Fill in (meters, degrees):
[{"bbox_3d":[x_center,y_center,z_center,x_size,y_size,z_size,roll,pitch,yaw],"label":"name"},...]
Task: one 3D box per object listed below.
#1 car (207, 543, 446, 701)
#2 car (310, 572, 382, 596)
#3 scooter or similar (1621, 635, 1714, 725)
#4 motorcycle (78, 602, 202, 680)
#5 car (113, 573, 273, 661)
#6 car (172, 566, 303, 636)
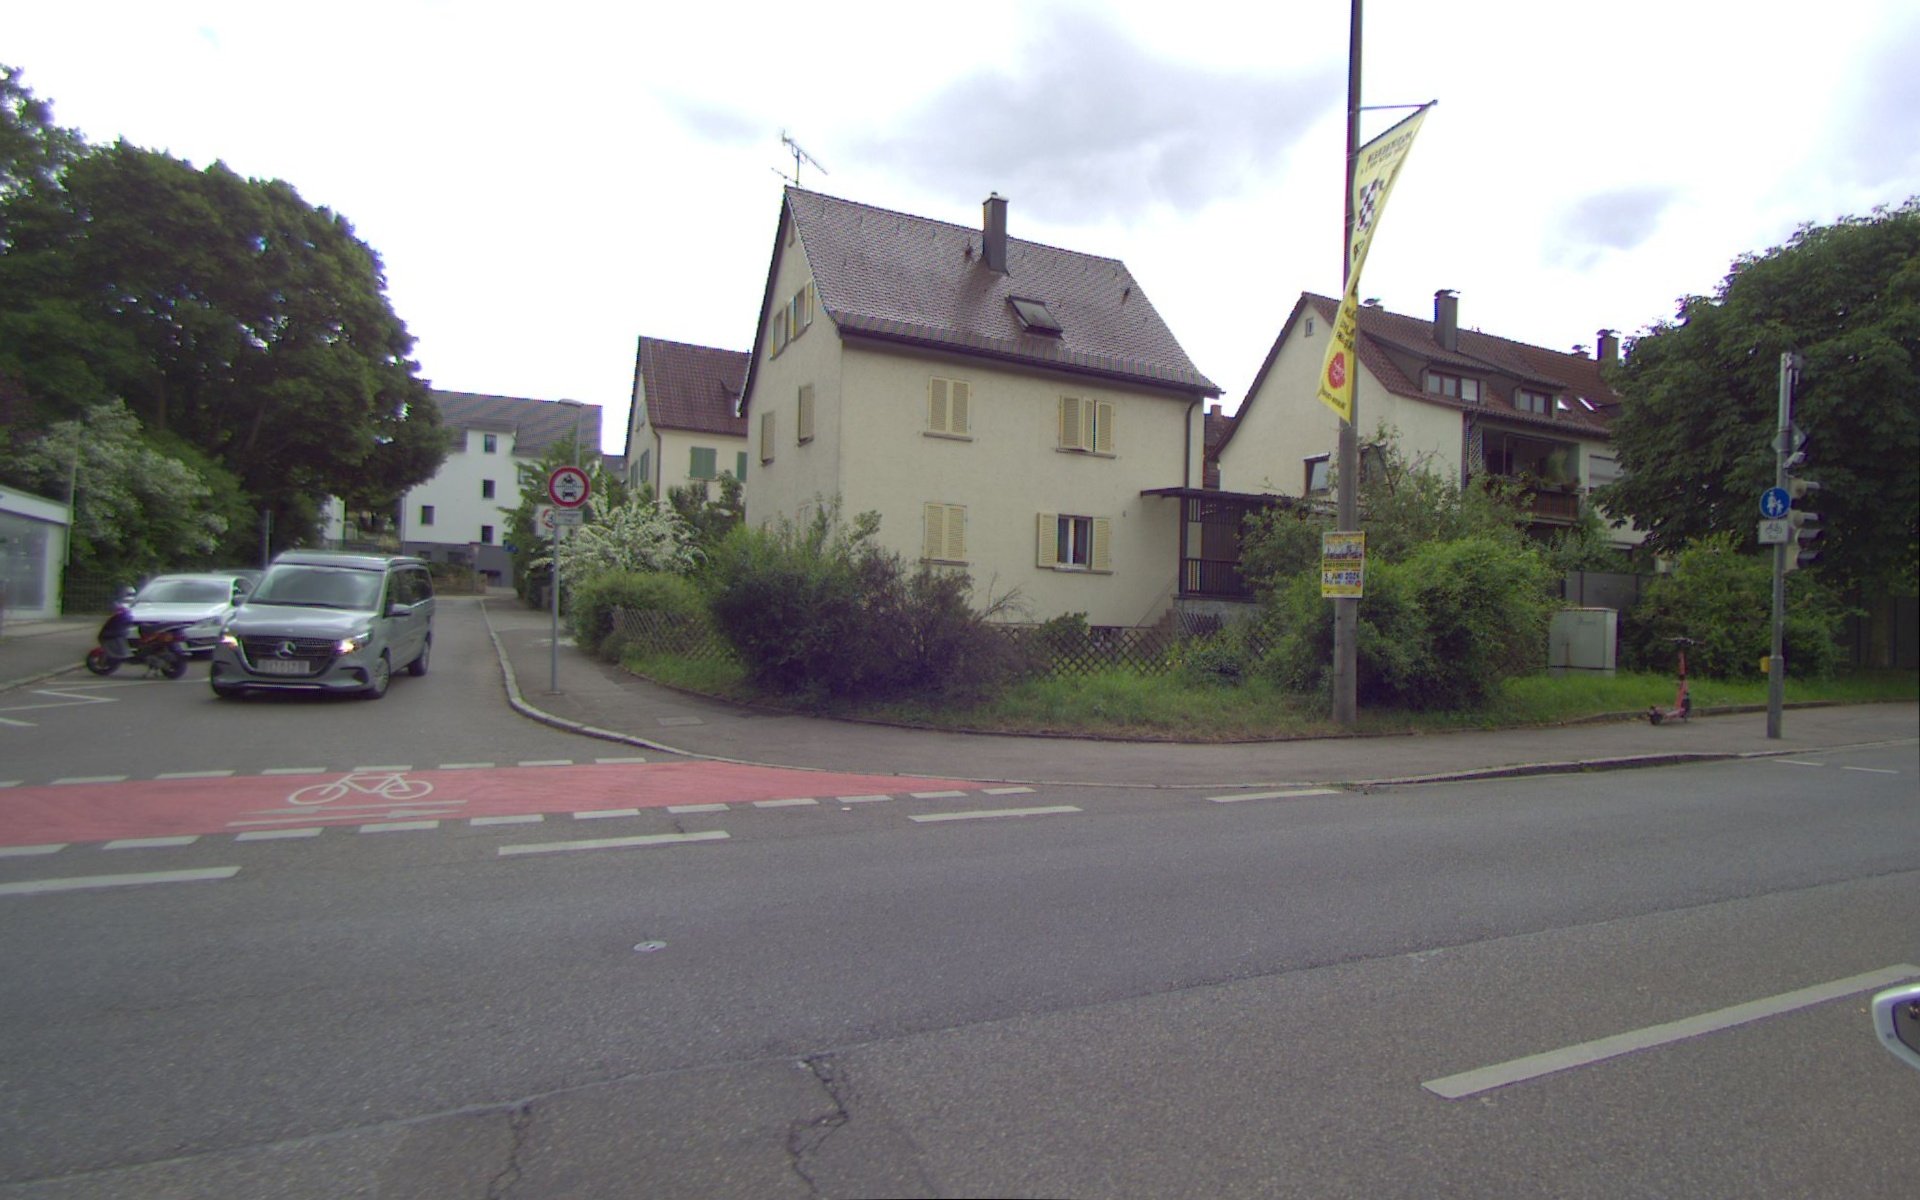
[{"bbox_3d":[-9.225,0.245,15.154,1.922,1.953,5.132,1,1,-19],"label":"car"},{"bbox_3d":[-35.026,-0.930,57.382,3.358,1.273,1.649,1,0,-28],"label":"car"},{"bbox_3d":[10.513,1.165,14.921,1.406,1.276,0.461,1,0,-24],"label":"scooter or similar"},{"bbox_3d":[-12.111,0.588,14.843,1.615,1.082,0.461,1,1,9],"label":"motorcycle"},{"bbox_3d":[-14.086,0.268,18.670,1.583,1.462,3.883,1,0,-26],"label":"car"},{"bbox_3d":[-16.594,0.005,23.262,1.777,1.462,3.883,1,0,-26],"label":"car"}]
